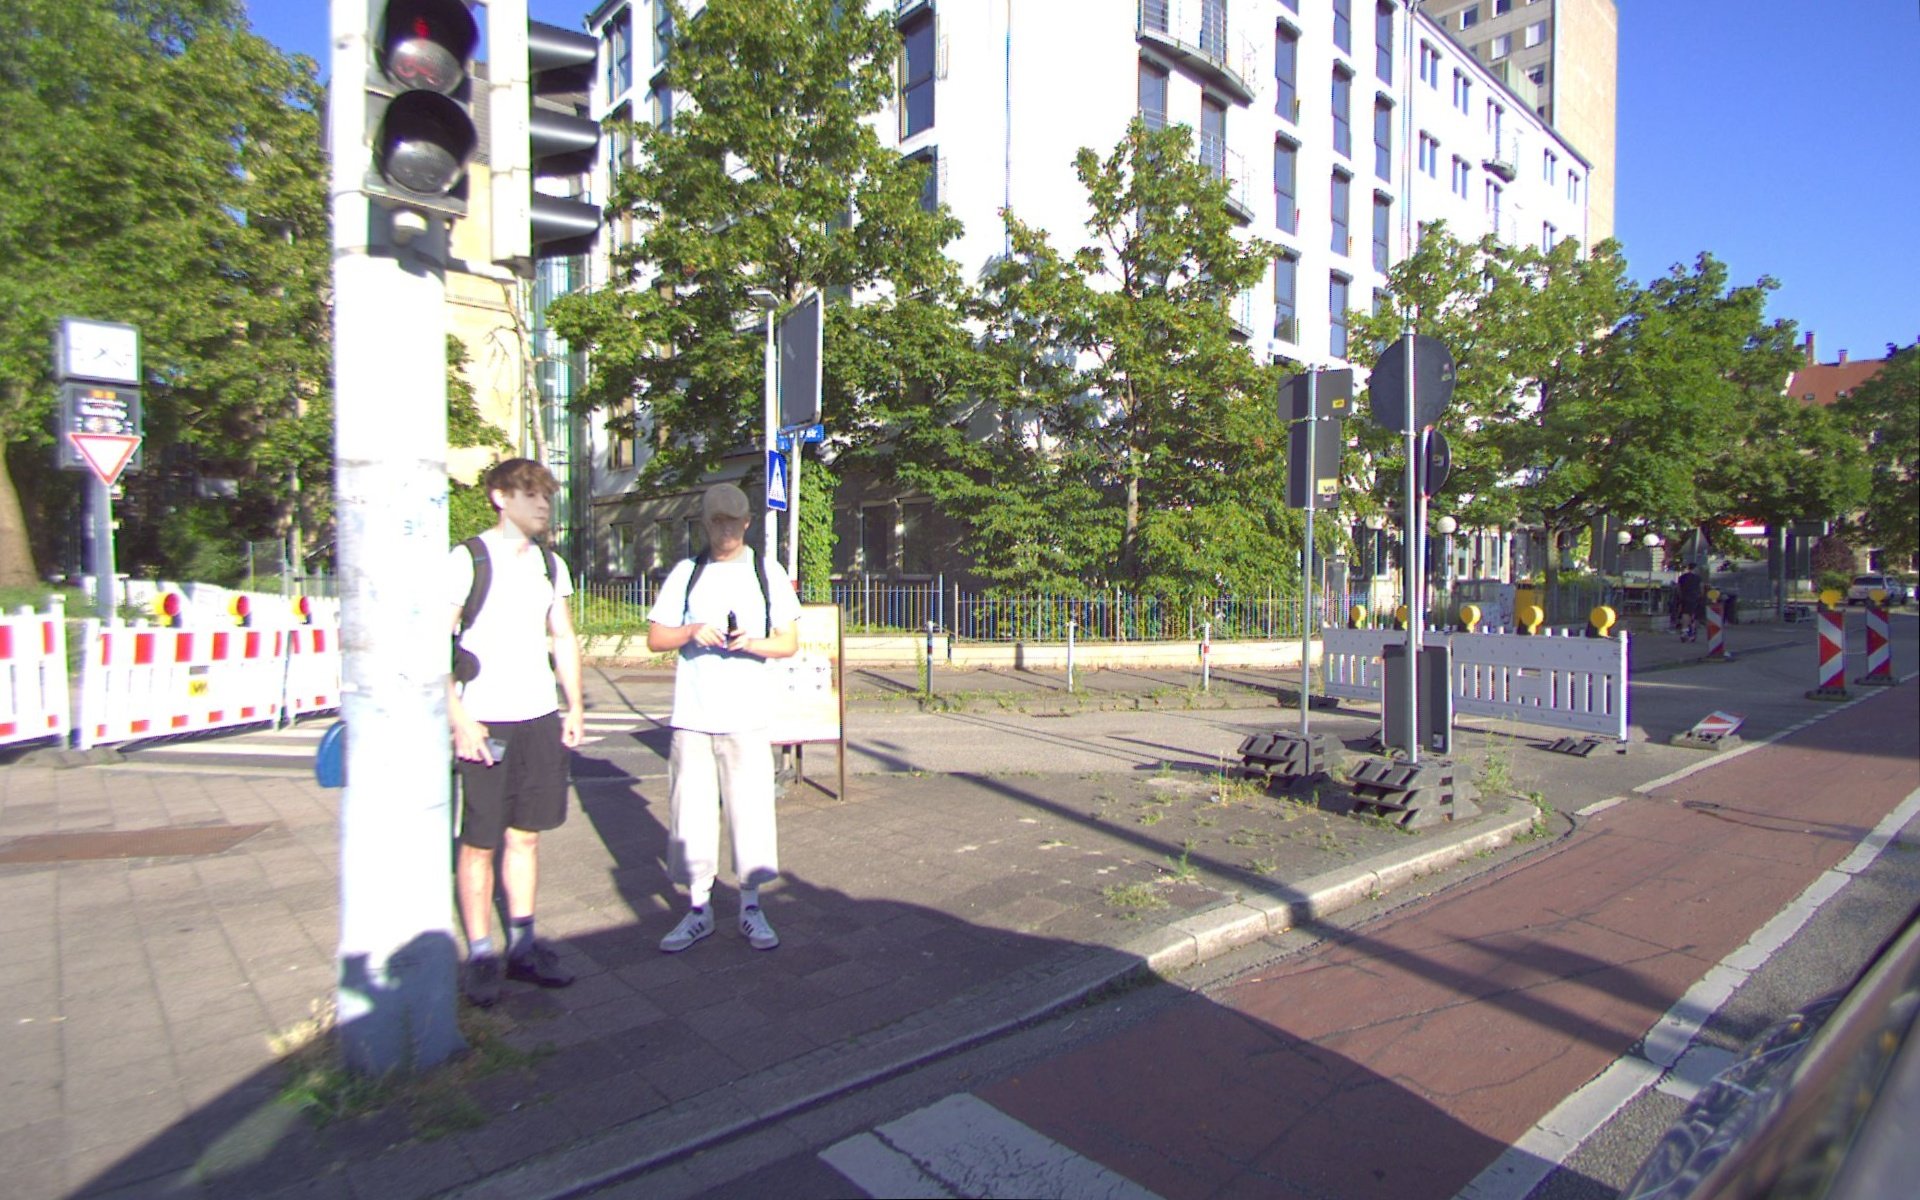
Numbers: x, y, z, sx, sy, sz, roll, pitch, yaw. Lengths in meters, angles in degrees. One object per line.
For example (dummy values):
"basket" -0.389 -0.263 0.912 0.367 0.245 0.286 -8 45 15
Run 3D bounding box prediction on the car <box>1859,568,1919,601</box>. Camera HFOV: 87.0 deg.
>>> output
"car" 47.078 -0.798 51.077 3.819 1.613 1.625 -1 2 -34

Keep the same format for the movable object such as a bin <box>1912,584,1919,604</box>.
"movable object such as a bin" 50.757 -0.334 53.447 0.661 1.042 0.573 0 1 -36

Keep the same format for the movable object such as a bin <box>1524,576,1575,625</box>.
"movable object such as a bin" 18.470 0.001 31.714 0.939 1.503 1.128 -1 1 -40

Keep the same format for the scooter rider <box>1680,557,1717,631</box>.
"scooter rider" 18.264 -0.150 25.038 0.478 1.812 0.616 0 1 -38

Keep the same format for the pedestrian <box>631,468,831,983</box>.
"pedestrian" -0.902 0.436 4.014 0.700 1.822 0.745 0 1 -13

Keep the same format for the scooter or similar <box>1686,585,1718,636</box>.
"scooter or similar" 18.374 0.246 25.060 1.228 1.209 0.331 -1 1 -39

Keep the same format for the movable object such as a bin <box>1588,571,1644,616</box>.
"movable object such as a bin" 22.061 -0.233 34.037 1.255 1.438 1.199 1 2 -38

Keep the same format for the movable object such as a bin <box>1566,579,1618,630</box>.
"movable object such as a bin" 19.264 0.120 30.847 0.940 1.503 1.105 -1 1 -41

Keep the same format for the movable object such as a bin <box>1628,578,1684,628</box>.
"movable object such as a bin" 21.619 0.066 31.420 1.325 1.503 1.193 1 1 40

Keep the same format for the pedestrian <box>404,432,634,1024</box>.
"pedestrian" -1.575 0.401 3.628 0.521 1.891 0.605 1 1 44

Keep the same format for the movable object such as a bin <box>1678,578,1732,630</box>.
"movable object such as a bin" 23.367 0.108 31.735 1.232 1.526 1.095 -4 3 -40

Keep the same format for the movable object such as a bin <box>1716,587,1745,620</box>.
"movable object such as a bin" 25.513 0.117 33.530 0.605 1.059 0.621 0 1 -38

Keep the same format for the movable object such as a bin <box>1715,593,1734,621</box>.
"movable object such as a bin" 25.047 0.230 33.152 0.482 0.918 0.393 -1 1 -42

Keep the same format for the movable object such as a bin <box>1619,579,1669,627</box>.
"movable object such as a bin" 20.295 0.072 30.028 1.210 1.361 1.042 1 1 35
